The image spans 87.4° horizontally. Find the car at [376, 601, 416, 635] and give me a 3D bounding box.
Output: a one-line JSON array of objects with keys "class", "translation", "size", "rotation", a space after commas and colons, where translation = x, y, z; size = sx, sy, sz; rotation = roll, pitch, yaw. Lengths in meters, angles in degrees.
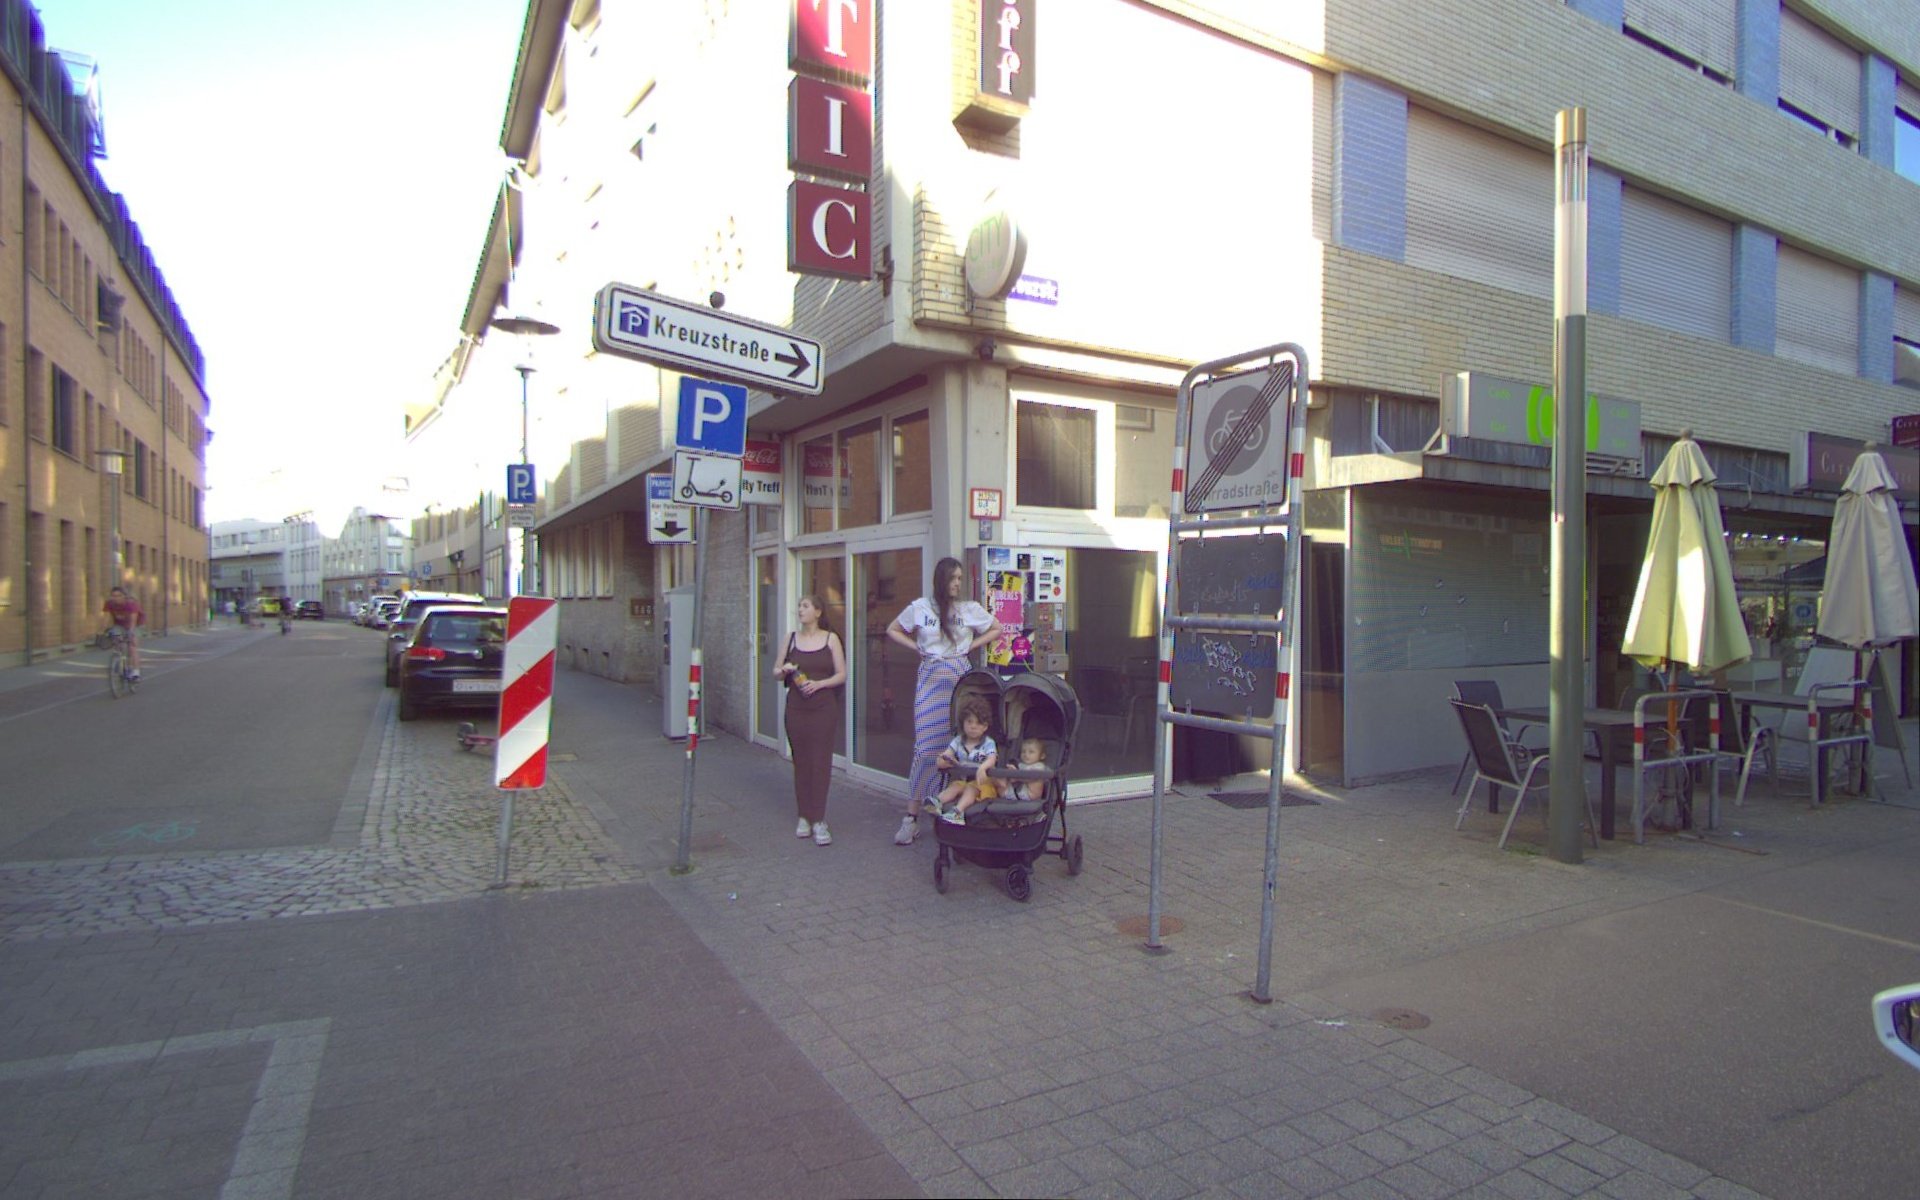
[{"class": "car", "translation": [-30.188, 0.949, 53.735], "size": [1.675, 1.701, 3.478], "rotation": [3, -2, -31]}]

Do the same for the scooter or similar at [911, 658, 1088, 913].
[{"class": "scooter or similar", "translation": [0.247, 0.932, 5.412], "size": [0.783, 1.159, 0.954], "rotation": [0, 1, 13]}]

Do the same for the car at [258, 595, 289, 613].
[{"class": "car", "translation": [-67.285, 0.348, 98.401], "size": [1.922, 1.673, 3.788], "rotation": [2, -1, -43]}]

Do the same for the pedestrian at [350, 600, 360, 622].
[{"class": "pedestrian", "translation": [-41.457, 0.760, 68.827], "size": [0.566, 1.499, 0.469], "rotation": [0, 0, -37]}]

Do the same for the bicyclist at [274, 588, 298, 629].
[{"class": "bicyclist", "translation": [-28.706, 0.365, 42.801], "size": [0.764, 1.678, 0.948], "rotation": [-3, 1, -33]}]

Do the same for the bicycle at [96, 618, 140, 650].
[{"class": "bicycle", "translation": [-25.311, 1.017, 30.234], "size": [0.636, 0.893, 2.534], "rotation": [1, -1, -32]}]

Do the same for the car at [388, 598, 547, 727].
[{"class": "car", "translation": [-6.978, 0.781, 14.083], "size": [1.720, 1.505, 3.781], "rotation": [3, -1, -29]}]

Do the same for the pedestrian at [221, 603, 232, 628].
[{"class": "pedestrian", "translation": [-47.796, 1.012, 65.460], "size": [0.537, 1.565, 0.402], "rotation": [1, 0, -31]}]

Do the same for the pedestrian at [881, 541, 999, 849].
[{"class": "pedestrian", "translation": [-0.118, 0.577, 6.375], "size": [0.647, 1.844, 0.571], "rotation": [-2, 1, 0]}]

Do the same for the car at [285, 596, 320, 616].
[{"class": "car", "translation": [-56.555, 0.544, 86.403], "size": [1.922, 1.673, 3.788], "rotation": [0, 0, -43]}]

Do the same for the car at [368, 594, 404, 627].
[{"class": "car", "translation": [-33.328, 0.625, 58.279], "size": [1.675, 1.798, 3.625], "rotation": [3, -2, -31]}]

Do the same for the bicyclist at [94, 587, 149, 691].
[{"class": "bicyclist", "translation": [-12.740, 0.576, 15.274], "size": [0.423, 1.518, 0.869], "rotation": [-2, 1, -28]}]

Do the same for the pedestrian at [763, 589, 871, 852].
[{"class": "pedestrian", "translation": [-0.932, 0.743, 6.502], "size": [0.526, 1.601, 0.508], "rotation": [-3, 1, -23]}]

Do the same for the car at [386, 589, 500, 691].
[{"class": "car", "translation": [-9.692, 0.702, 18.729], "size": [1.654, 1.683, 4.049], "rotation": [3, -2, -29]}]

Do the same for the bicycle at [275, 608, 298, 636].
[{"class": "bicycle", "translation": [-28.644, 0.914, 42.749], "size": [0.697, 1.118, 1.811], "rotation": [-4, 2, -33]}]

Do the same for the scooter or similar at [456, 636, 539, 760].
[{"class": "scooter or similar", "translation": [-4.670, 0.973, 10.134], "size": [0.865, 1.199, 0.208], "rotation": [0, 0, 21]}]

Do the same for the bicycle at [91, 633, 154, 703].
[{"class": "bicycle", "translation": [-12.748, 1.008, 15.323], "size": [0.431, 0.970, 1.579], "rotation": [0, 0, -28]}]

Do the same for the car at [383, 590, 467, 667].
[{"class": "car", "translation": [-13.338, 0.694, 25.003], "size": [1.654, 1.727, 3.981], "rotation": [3, -2, -29]}]
